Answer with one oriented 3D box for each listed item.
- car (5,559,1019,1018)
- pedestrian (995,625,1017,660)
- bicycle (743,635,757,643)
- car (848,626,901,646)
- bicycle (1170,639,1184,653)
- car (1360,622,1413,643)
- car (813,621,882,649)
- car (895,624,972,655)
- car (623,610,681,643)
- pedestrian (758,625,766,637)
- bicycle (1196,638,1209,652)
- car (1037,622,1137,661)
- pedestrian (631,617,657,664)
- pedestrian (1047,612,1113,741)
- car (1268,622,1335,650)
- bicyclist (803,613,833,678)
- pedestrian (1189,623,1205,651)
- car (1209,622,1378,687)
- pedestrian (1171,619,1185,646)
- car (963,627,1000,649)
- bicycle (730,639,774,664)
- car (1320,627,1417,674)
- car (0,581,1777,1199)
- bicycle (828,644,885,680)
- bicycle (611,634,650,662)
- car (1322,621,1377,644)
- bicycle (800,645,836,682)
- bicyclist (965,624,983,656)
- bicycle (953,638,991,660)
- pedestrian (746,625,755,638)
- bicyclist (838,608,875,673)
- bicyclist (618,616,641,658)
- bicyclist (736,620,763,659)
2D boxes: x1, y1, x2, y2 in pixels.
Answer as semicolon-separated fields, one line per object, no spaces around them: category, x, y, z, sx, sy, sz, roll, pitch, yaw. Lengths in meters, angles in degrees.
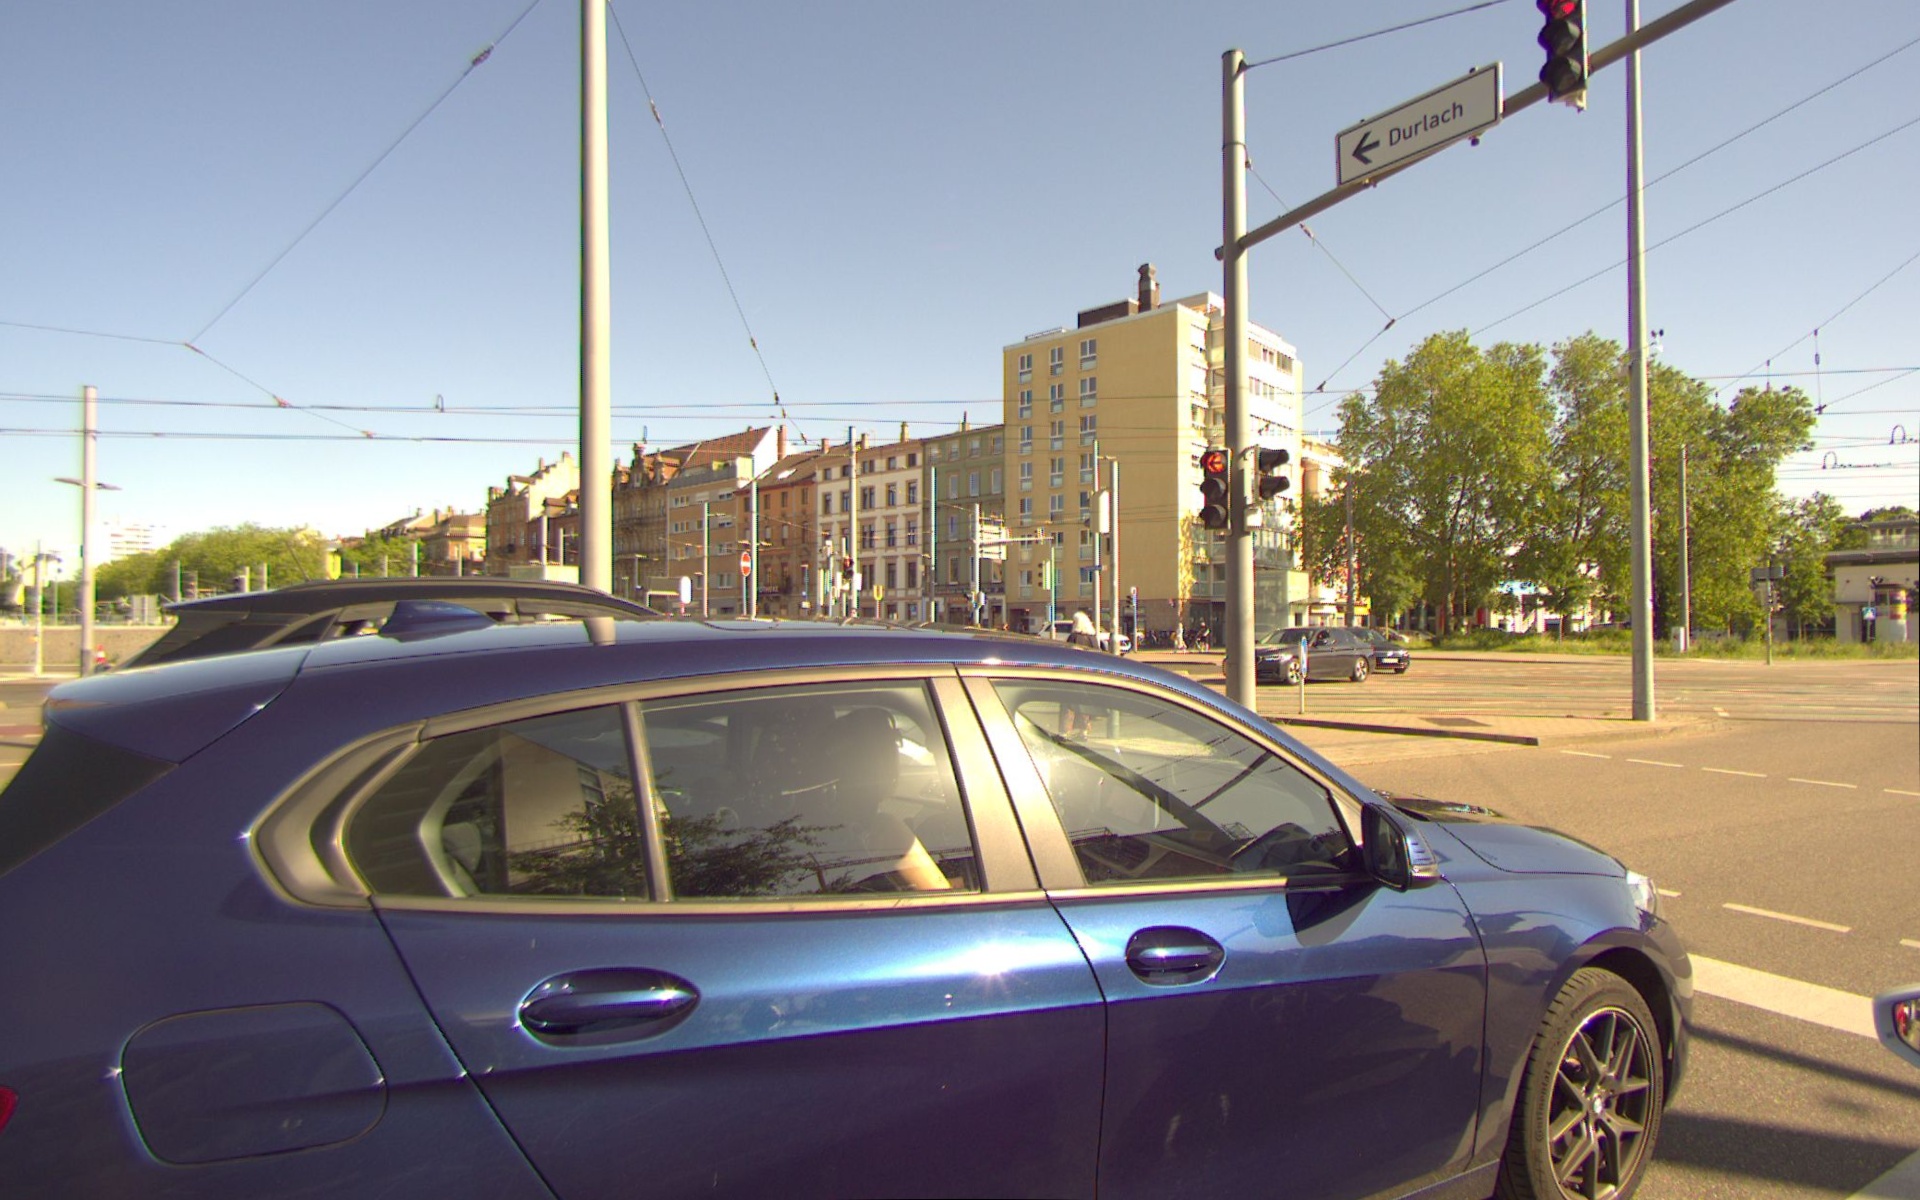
car;-1.840;0.667;5.080;3.959;1.537;1.751;1;-1;-28
pedestrian;2.070;1.905;45.254;0.669;1.593;0.740;1;-2;-45
bicycle;-19.406;3.616;92.920;1.611;0.769;0.422;-1;-2;42
car;-6.294;2.661;74.483;1.749;1.446;3.863;-1;-2;39
bicycle;12.620;2.668;58.380;0.478;0.822;1.612;-1;-2;23
car;34.942;2.640;82.343;3.691;1.684;1.586;-1;-2;42
car;-6.954;2.139;61.966;4.244;1.675;1.849;-1;-2;40
car;-1.535;2.171;56.316;4.246;1.675;1.848;-1;-2;42
car;-26.969;2.352;87.821;5.838;2.780;2.133;-1;-2;42
pedestrian;-18.447;2.910;93.714;0.739;1.142;0.421;-1;-2;43
bicycle;13.902;2.590;57.593;0.451;0.790;1.808;-1;-2;23
car;5.726;1.847;45.706;4.247;1.675;1.848;-1;-2;42
pedestrian;-11.795;1.500;37.495;0.672;1.735;0.793;1;-1;-38
pedestrian;1.502;0.949;12.611;0.749;1.575;0.356;0;-1;-17
car;21.667;2.261;63.798;3.691;1.684;1.586;-1;-2;42
bicyclist;-3.703;1.179;26.237;0.667;1.676;0.782;0;-1;-17
pedestrian;13.638;2.132;57.839;0.754;1.581;0.614;-1;-1;33
car;8.604;1.346;25.774;4.524;1.521;1.846;1;-2;-36
pedestrian;12.721;1.911;58.529;0.702;1.581;0.557;-1;-1;22
car;1.375;2.500;67.000;1.745;1.446;3.873;0;-2;-10
bicycle;-7.892;1.943;38.072;1.872;0.890;0.674;-1;-2;44
car;13.251;1.604;32.844;1.693;1.457;4.179;0;-2;4
car;0.126;0.745;2.544;3.984;1.464;1.703;1;0;-30
bicycle;-2.751;1.622;26.609;0.672;0.890;1.880;1;-2;-35
bicycle;-13.604;1.971;41.403;1.871;1.120;0.675;-1;-2;41
car;29.957;2.505;77.307;3.691;1.684;1.586;-1;-2;42
bicycle;-3.713;1.642;26.165;0.667;0.890;1.892;0;-2;-16
bicyclist;0.635;1.850;46.287;0.609;1.462;0.614;1;-1;-30
bicycle;0.547;2.257;46.221;1.666;0.958;0.614;1;-2;-30
pedestrian;-19.387;2.932;92.914;0.739;1.220;0.422;-1;-2;42
bicyclist;-2.735;1.072;26.580;0.672;1.676;0.777;1;-1;-35
bicyclist;-13.605;1.512;41.401;0.609;1.735;0.675;-1;-2;41
bicyclist;-7.992;1.500;38.175;0.774;1.474;0.674;-1;-2;43
